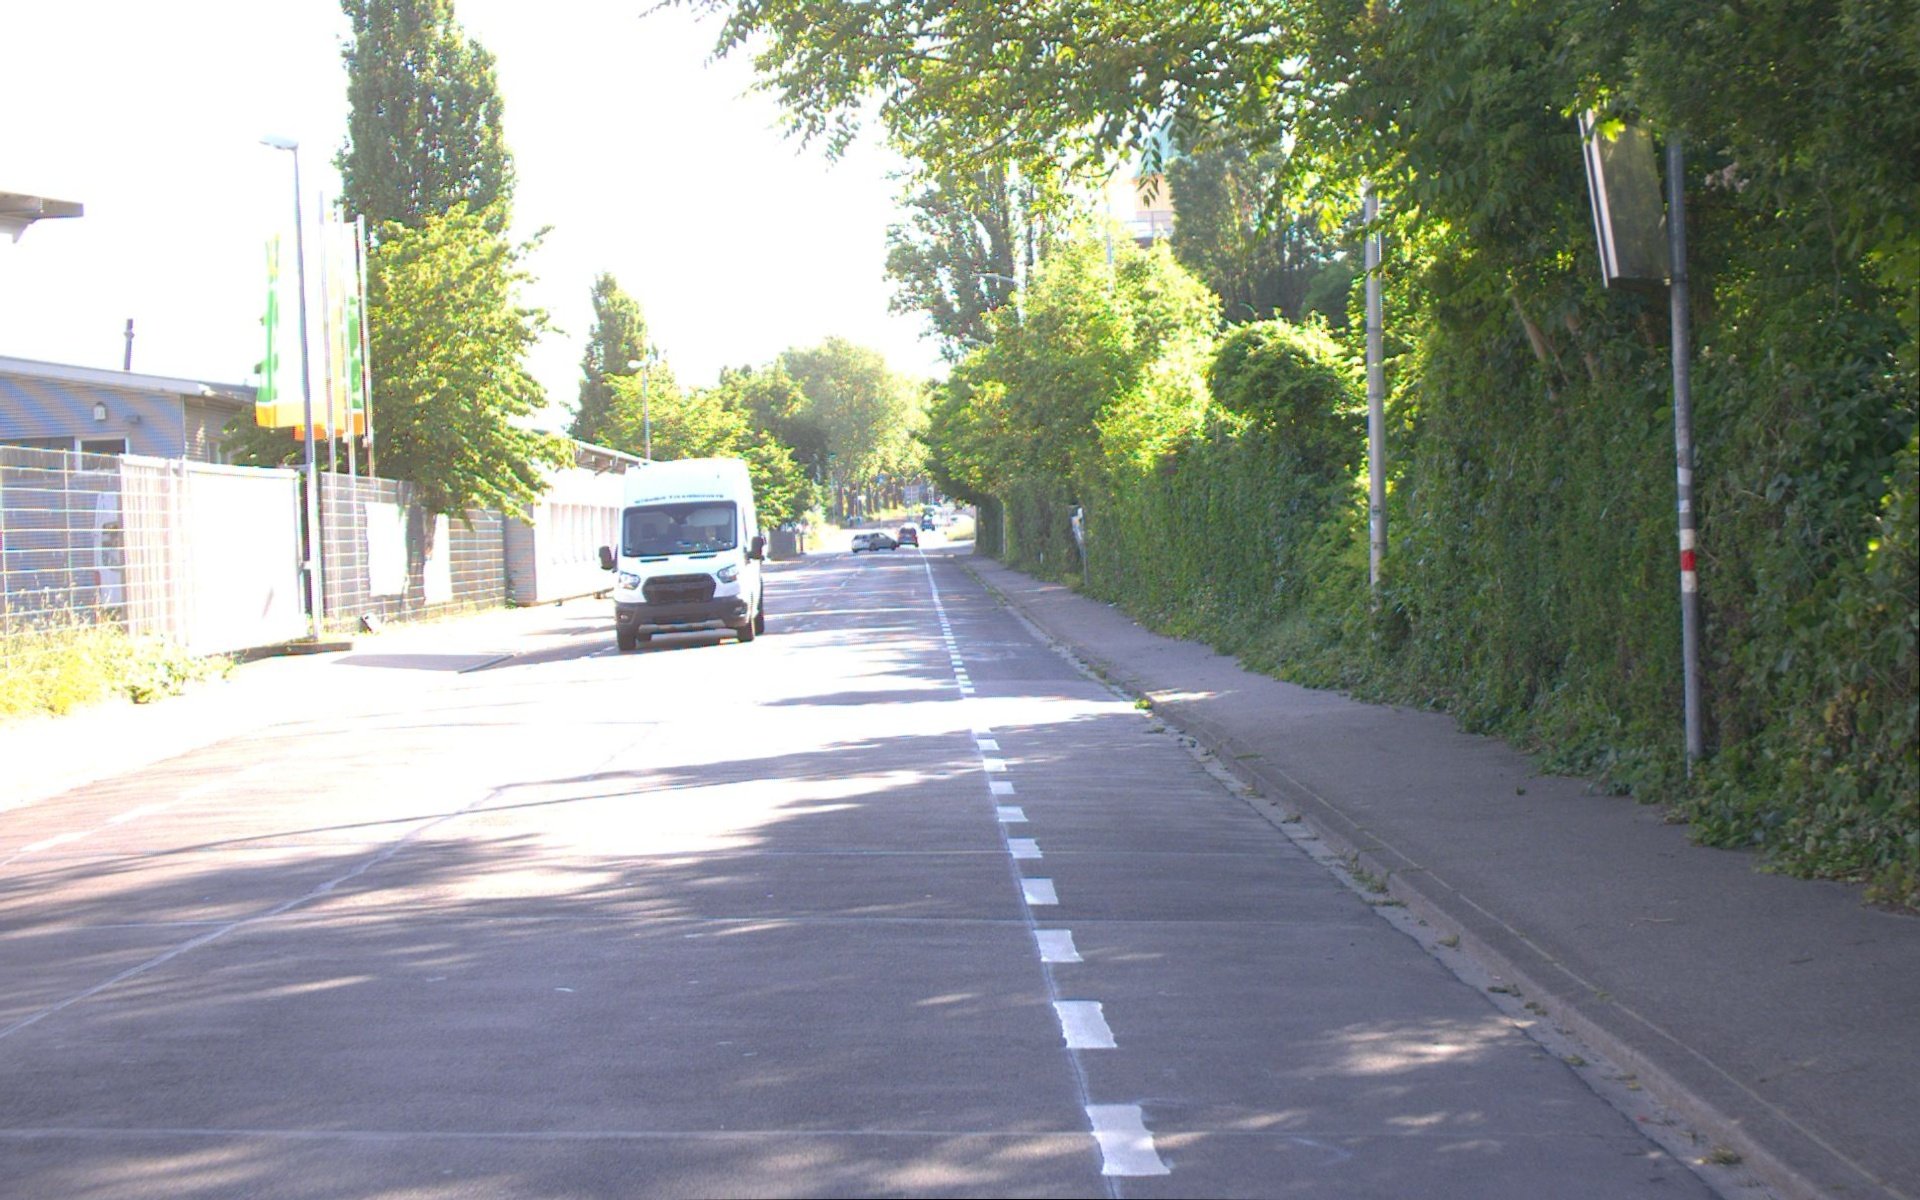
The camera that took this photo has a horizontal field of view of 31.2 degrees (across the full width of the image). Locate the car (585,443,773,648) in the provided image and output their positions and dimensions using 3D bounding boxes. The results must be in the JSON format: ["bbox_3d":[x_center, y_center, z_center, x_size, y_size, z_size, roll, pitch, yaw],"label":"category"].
[{"bbox_3d":[-4.147,-0.821,51.808,2.123,2.771,5.927,-4,1,0],"label":"car"}]

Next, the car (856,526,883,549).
[{"bbox_3d":[-6.758,-4.651,256.164,1.942,1.645,4.310,0,1,-1],"label":"car"}]

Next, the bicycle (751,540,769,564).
[{"bbox_3d":[-8.590,-2.078,147.683,0.689,1.030,1.351,0,1,-1],"label":"bicycle"}]

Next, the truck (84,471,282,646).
[{"bbox_3d":[-13.156,-0.748,58.572,2.078,2.752,5.765,-2,1,-1],"label":"truck"}]
